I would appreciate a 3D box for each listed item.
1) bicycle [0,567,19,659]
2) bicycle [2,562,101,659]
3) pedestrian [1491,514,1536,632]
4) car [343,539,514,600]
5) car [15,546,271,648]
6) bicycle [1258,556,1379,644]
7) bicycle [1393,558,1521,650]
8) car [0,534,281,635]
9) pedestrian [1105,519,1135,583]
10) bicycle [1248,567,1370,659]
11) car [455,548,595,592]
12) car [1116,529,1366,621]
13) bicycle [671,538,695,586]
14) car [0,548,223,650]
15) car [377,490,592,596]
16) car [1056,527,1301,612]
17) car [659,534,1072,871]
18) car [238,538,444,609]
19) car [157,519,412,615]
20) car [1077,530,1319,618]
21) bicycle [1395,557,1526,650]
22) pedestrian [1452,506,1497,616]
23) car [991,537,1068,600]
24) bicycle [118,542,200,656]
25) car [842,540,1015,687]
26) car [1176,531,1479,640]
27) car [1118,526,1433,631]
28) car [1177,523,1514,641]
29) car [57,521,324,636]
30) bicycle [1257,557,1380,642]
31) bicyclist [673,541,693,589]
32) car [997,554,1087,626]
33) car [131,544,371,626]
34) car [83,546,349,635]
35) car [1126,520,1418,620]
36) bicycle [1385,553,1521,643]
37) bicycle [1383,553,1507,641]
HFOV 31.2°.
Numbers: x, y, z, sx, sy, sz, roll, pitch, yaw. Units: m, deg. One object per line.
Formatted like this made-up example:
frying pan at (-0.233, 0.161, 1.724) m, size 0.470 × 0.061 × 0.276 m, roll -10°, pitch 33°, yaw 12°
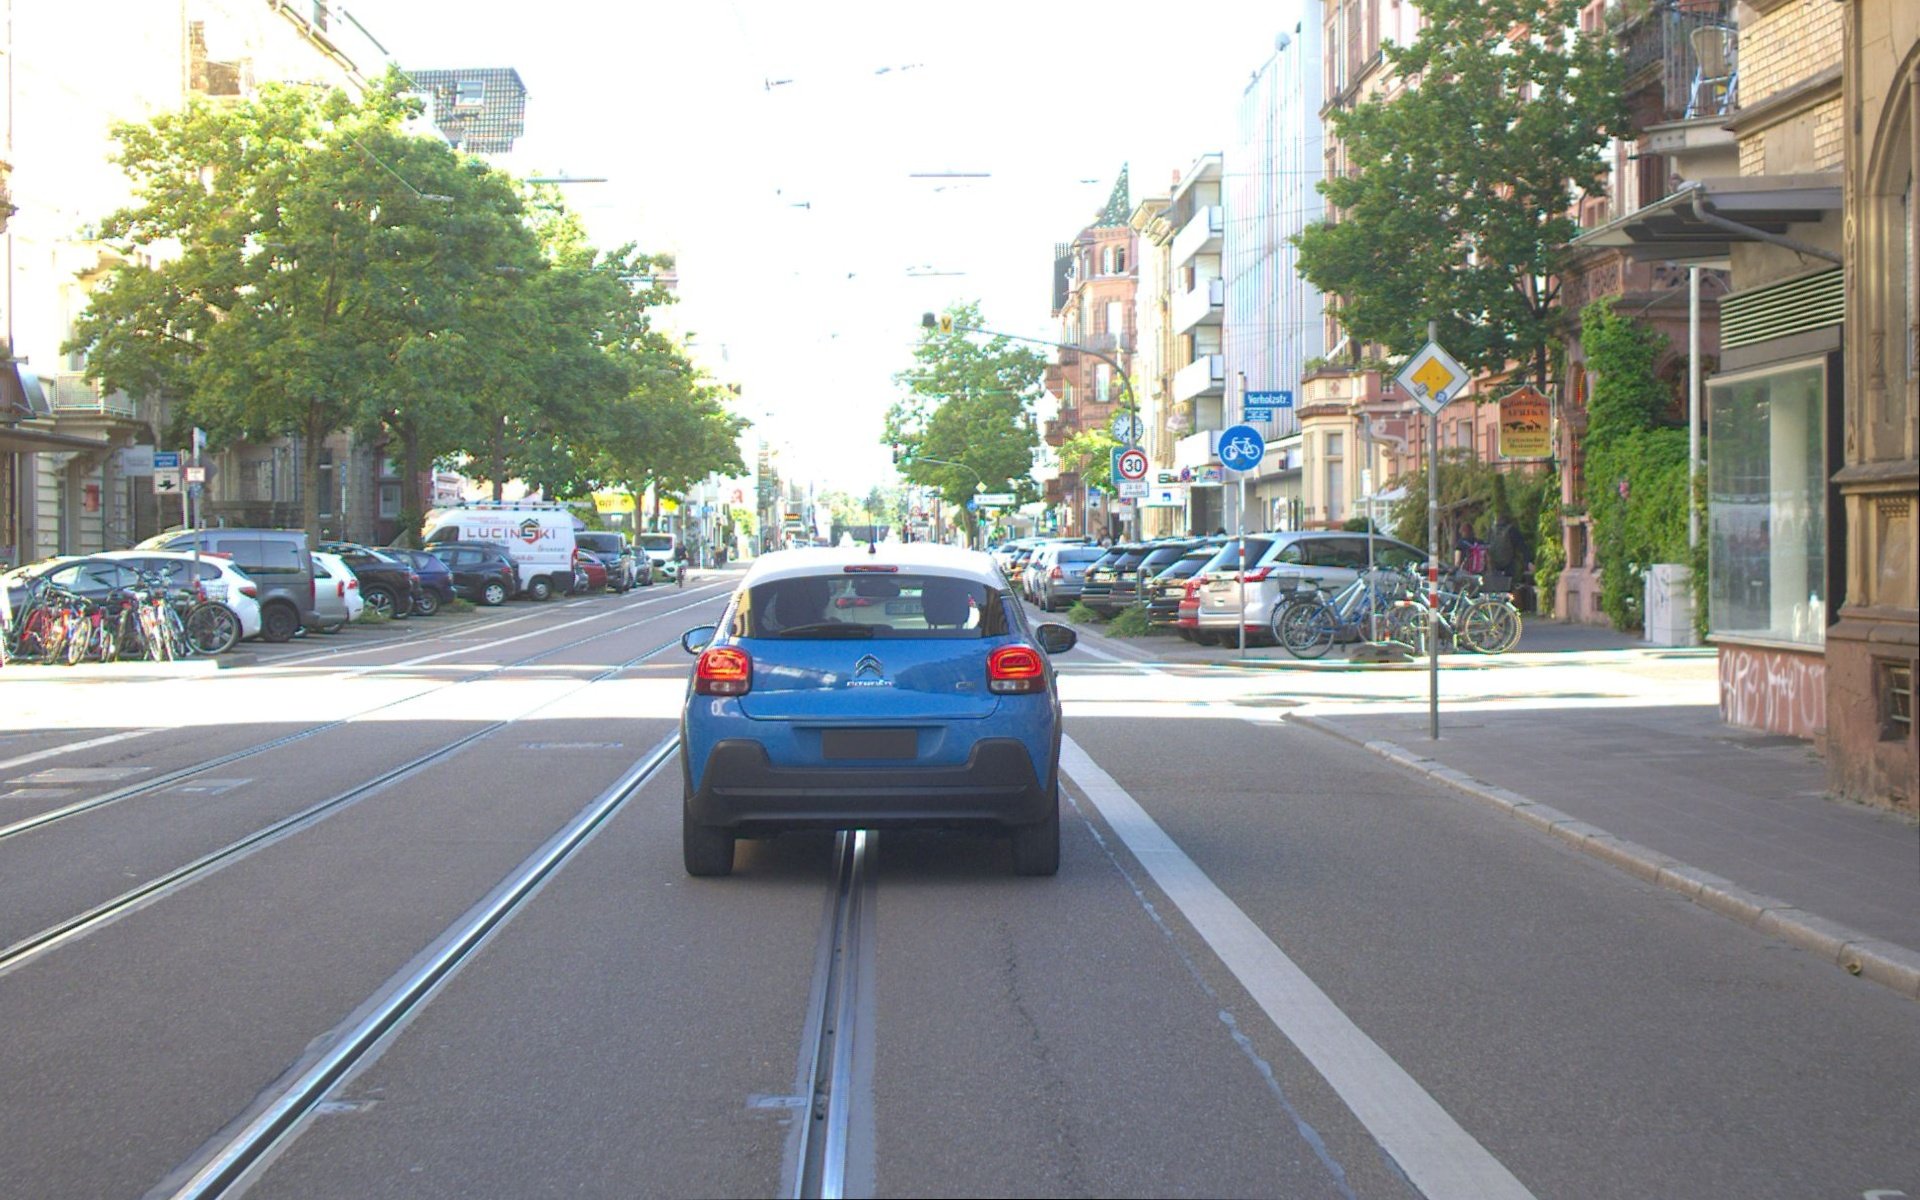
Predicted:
bicycle at (-12.735, 0.127, 42.780) m, size 2.433 × 1.105 × 0.682 m, roll 3°, pitch 4°, yaw 39°
bicycle at (-11.463, 0.118, 43.346) m, size 0.681 × 1.119 × 1.888 m, roll -1°, pitch 4°, yaw -32°
pedestrian at (8.379, -0.410, 52.088) m, size 0.518 × 1.772 × 0.864 m, roll 0°, pitch 0°, yaw -1°
car at (-13.225, -0.761, 85.491) m, size 3.986 × 1.484 × 1.807 m, roll 0°, pitch 1°, yaw -17°
car at (-12.459, -0.072, 52.450) m, size 3.459 × 1.468 × 1.649 m, roll -1°, pitch 2°, yaw -30°
bicycle at (4.670, -0.004, 44.821) m, size 1.560 × 1.123 × 0.294 m, roll 0°, pitch 0°, yaw 6°
bicycle at (6.199, 0.048, 42.943) m, size 1.556 × 1.123 × 0.528 m, roll 0°, pitch 0°, yaw 6°
car at (-11.888, -0.229, 49.414) m, size 3.780 × 1.395 × 1.755 m, roll 0°, pitch 1°, yaw -34°
pedestrian at (4.068, -1.241, 87.416) m, size 0.711 × 1.601 × 0.654 m, roll 0°, pitch 0°, yaw -2°
bicycle at (4.336, 0.158, 42.744) m, size 1.397 × 1.123 × 0.551 m, roll 0°, pitch 1°, yaw -10°
car at (-12.810, -0.875, 101.160) m, size 3.796 × 1.261 × 1.516 m, roll 0°, pitch 1°, yaw -26°
car at (4.997, -0.445, 61.139) m, size 3.986 × 1.590 × 1.960 m, roll 0°, pitch 1°, yaw -25°
bicycle at (-9.712, -1.346, 120.630) m, size 0.680 × 1.673 × 2.097 m, roll 0°, pitch 1°, yaw -1°
car at (-11.894, -0.027, 46.350) m, size 3.460 × 1.333 × 1.624 m, roll 0°, pitch 1°, yaw -35°
car at (-12.619, -1.494, 91.380) m, size 5.370 × 2.739 × 1.806 m, roll 0°, pitch 1°, yaw -31°
car at (4.234, -0.586, 66.628) m, size 4.302 × 1.590 × 1.983 m, roll 0°, pitch 1°, yaw -25°
car at (-0.451, 0.419, 16.534) m, size 1.762 × 1.436 × 3.557 m, roll 0°, pitch 1°, yaw -1°
car at (-13.316, -0.568, 73.999) m, size 3.986 × 1.484 × 1.806 m, roll 0°, pitch 1°, yaw -29°
car at (-12.906, -0.626, 65.766) m, size 4.353 × 1.777 × 1.996 m, roll 0°, pitch 1°, yaw -33°
car at (4.441, -0.485, 64.204) m, size 3.986 × 1.590 × 2.088 m, roll 0°, pitch 1°, yaw -25°
bicycle at (6.158, 0.043, 42.362) m, size 1.556 × 1.123 × 0.551 m, roll 0°, pitch 0°, yaw 6°
pedestrian at (7.766, -0.593, 51.899) m, size 0.518 × 1.643 × 0.864 m, roll 0°, pitch 0°, yaw -1°
car at (1.803, -0.831, 90.289) m, size 1.873 × 1.590 × 4.000 m, roll 0°, pitch 1°, yaw -1°
bicycle at (-10.125, -0.032, 43.534) m, size 0.681 × 1.315 × 2.436 m, roll 0°, pitch 3°, yaw -5°
car at (-0.368, 0.127, 39.561) m, size 1.873 × 1.590 × 4.000 m, roll 0°, pitch 1°, yaw -1°
car at (5.373, -0.214, 50.318) m, size 3.986 × 1.531 × 1.919 m, roll 0°, pitch 1°, yaw -25°
car at (4.919, -0.334, 53.648) m, size 4.433 × 1.590 × 2.089 m, roll 0°, pitch 1°, yaw -25°
car at (5.399, -0.255, 48.117) m, size 4.350 × 1.590 × 1.854 m, roll 0°, pitch 1°, yaw -25°
car at (-12.308, -0.347, 54.994) m, size 3.810 × 1.778 × 1.797 m, roll 0°, pitch 1°, yaw -29°
bicycle at (4.634, -0.010, 44.468) m, size 1.556 × 1.075 × 0.307 m, roll 0°, pitch 0°, yaw 6°
bicyclist at (-9.707, -1.222, 120.586) m, size 0.634 × 1.675 × 0.727 m, roll 0°, pitch 0°, yaw -1°
car at (1.838, -0.249, 78.381) m, size 1.873 × 1.590 × 4.719 m, roll 0°, pitch 1°, yaw -1°
car at (-12.591, -0.273, 61.070) m, size 3.831 × 1.425 × 1.766 m, roll 0°, pitch 1°, yaw -27°
car at (-12.462, -0.165, 57.640) m, size 4.006 × 1.444 × 1.699 m, roll 0°, pitch 1°, yaw -33°
car at (5.107, -0.483, 56.283) m, size 4.317 × 1.590 × 2.046 m, roll 0°, pitch 1°, yaw -25°
bicycle at (6.239, -0.029, 43.577) m, size 1.675 × 1.123 × 0.551 m, roll 0°, pitch 0°, yaw 6°
bicycle at (6.278, -0.048, 44.582) m, size 1.556 × 1.123 × 0.551 m, roll 0°, pitch 0°, yaw 6°
